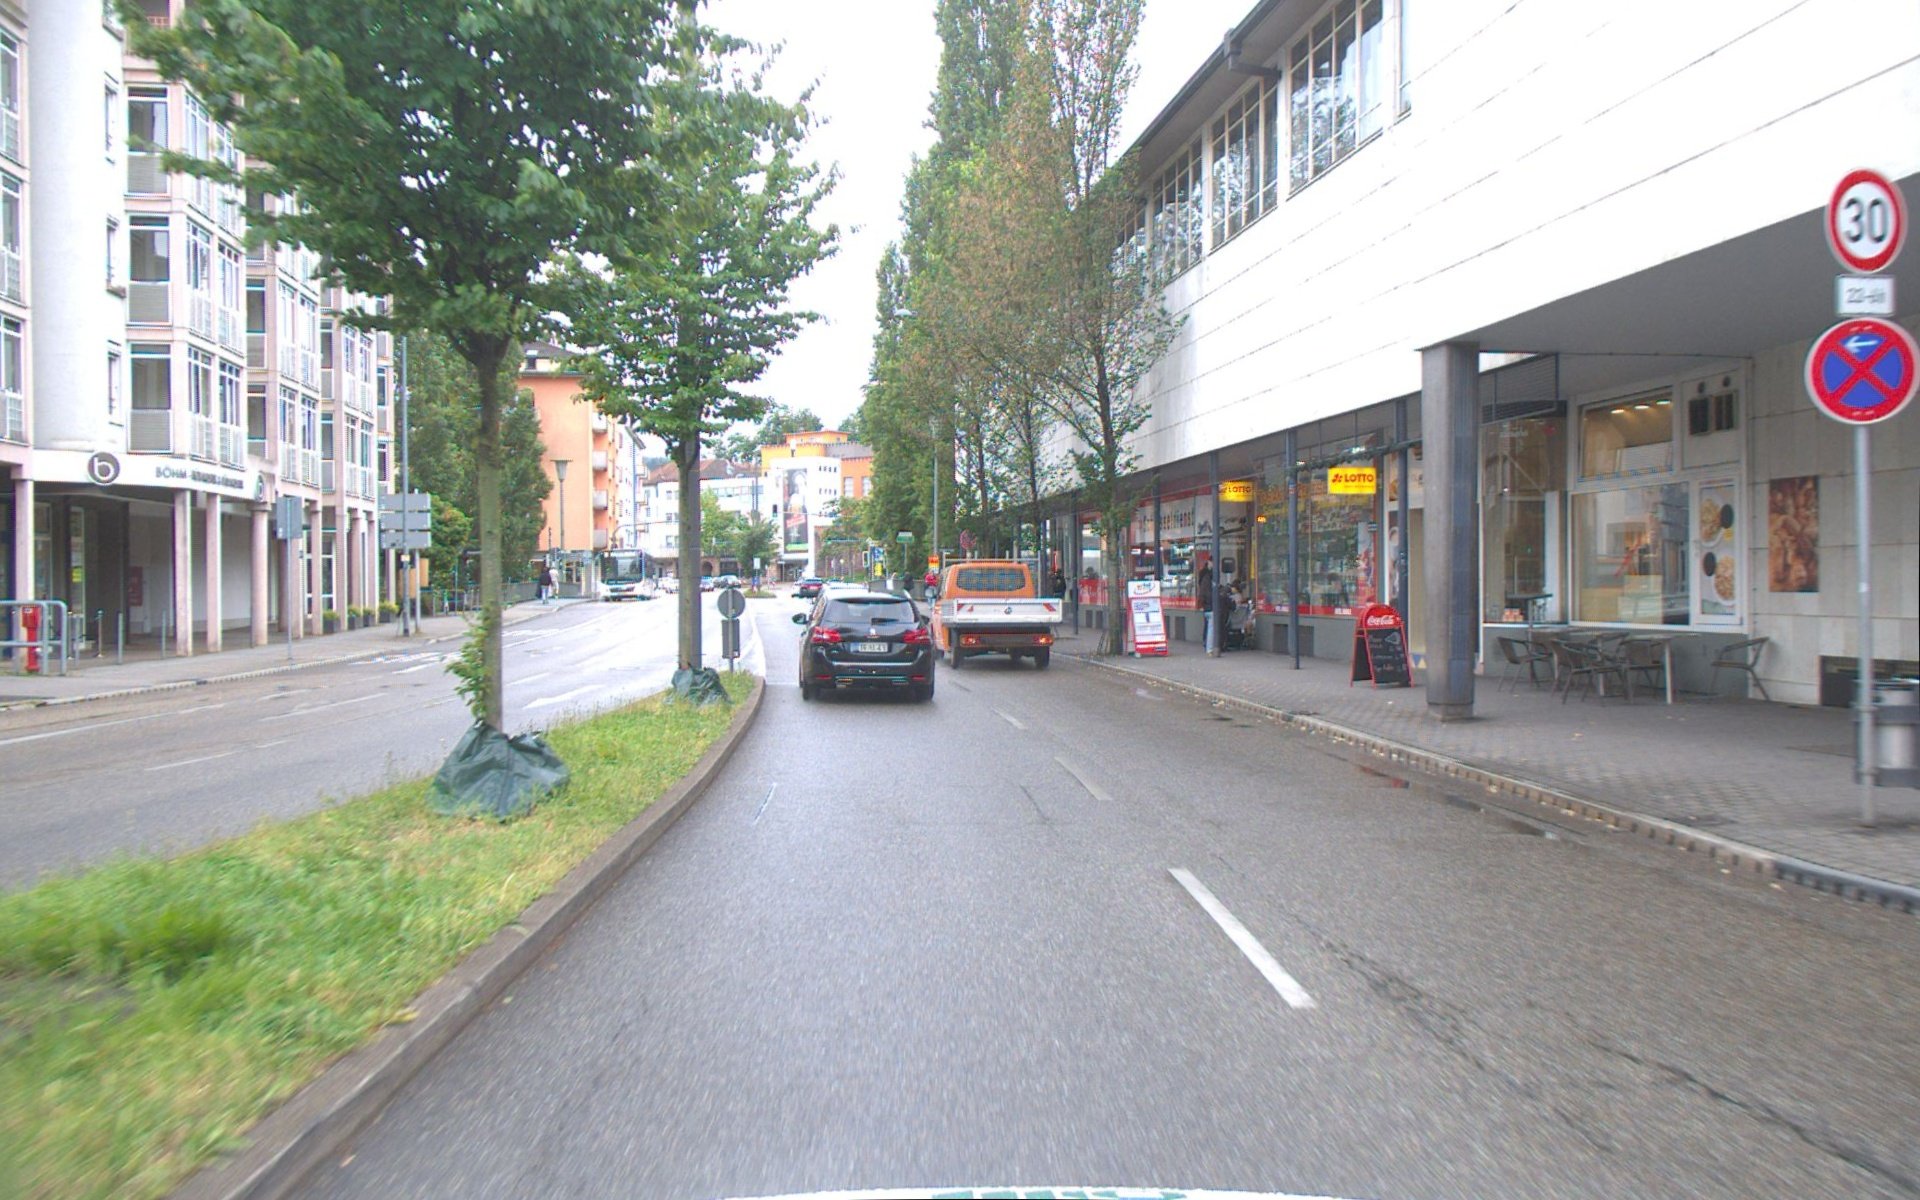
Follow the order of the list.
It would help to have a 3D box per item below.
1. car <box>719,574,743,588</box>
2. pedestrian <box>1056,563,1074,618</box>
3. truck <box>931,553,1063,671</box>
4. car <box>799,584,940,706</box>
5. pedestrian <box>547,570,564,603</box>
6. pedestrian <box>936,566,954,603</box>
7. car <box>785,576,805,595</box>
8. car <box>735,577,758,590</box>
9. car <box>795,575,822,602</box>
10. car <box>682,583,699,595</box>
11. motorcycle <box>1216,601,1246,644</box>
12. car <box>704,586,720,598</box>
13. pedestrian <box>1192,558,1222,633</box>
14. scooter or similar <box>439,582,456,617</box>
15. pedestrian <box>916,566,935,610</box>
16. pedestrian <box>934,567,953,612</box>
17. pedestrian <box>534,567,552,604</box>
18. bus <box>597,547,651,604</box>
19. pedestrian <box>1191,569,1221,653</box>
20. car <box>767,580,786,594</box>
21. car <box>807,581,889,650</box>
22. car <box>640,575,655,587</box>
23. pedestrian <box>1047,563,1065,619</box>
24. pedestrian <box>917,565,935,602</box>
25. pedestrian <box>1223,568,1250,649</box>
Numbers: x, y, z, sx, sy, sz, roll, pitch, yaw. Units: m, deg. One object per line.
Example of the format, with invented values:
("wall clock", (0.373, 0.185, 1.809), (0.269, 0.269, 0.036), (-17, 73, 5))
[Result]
("car", (-29.052, -2.449, 209.566), (1.629, 1.592, 3.560), (3, -2, -32))
("pedestrian", (3.345, -0.308, 52.642), (0.525, 1.748, 0.535), (-1, 1, 2))
("truck", (0.621, 0.217, 31.607), (2.080, 2.061, 4.711), (1, 0, -4))
("car", (-1.310, 0.578, 22.919), (1.760, 1.509, 3.996), (1, 0, -5))
("pedestrian", (-22.398, -0.755, 91.693), (0.781, 1.825, 0.811), (0, 0, -5))
("pedestrian", (-0.667, -0.698, 74.935), (0.712, 1.617, 0.605), (-2, 1, -8))
("car", (-15.271, -1.310, 153.080), (1.614, 1.592, 3.593), (2, -2, -7))
("car", (-27.531, -2.134, 213.335), (1.629, 1.592, 3.560), (3, -2, -32))
("car", (-10.263, -0.755, 111.775), (1.614, 1.592, 3.593), (2, -2, -7))
("car", (-30.309, -1.248, 186.380), (1.758, 1.348, 4.399), (-1, 1, -8))
("motorcycle", (5.407, 0.445, 33.025), (0.318, 0.818, 0.919), (-1, 2, -7))
("car", (-29.387, -0.921, 195.674), (1.759, 1.348, 4.396), (-1, 1, -10))
("pedestrian", (5.354, -0.098, 35.817), (0.422, 1.593, 0.507), (0, 1, 38))
("scooter or similar", (-21.125, -0.032, 68.145), (0.473, 1.336, 1.568), (-1, 3, -11))
("pedestrian", (-1.439, -0.500, 68.489), (0.641, 1.798, 0.921), (-2, 1, -8))
("pedestrian", (-0.685, -0.423, 68.562), (0.685, 1.833, 0.605), (-2, 1, -8))
("pedestrian", (-20.786, -0.741, 82.504), (0.684, 1.825, 0.958), (0, 0, -5))
("bus", (-20.303, -1.592, 100.511), (2.694, 3.129, 12.213), (0, 2, -9))
("pedestrian", (4.779, 0.209, 32.099), (0.421, 1.593, 0.508), (-1, 1, -9))
("car", (-22.500, -1.612, 202.609), (1.958, 1.713, 3.989), (-1, 1, -11))
("car", (-2.679, 0.329, 38.964), (1.760, 1.509, 3.995), (-1, 1, -6))
("car", (-40.473, -2.482, 214.408), (1.634, 1.424, 3.870), (-2, 1, -8))
("pedestrian", (3.001, -0.275, 51.902), (0.525, 1.748, 0.534), (-1, 1, 1))
("pedestrian", (-1.548, -0.757, 75.512), (0.703, 1.648, 0.768), (-2, 1, -8))
("pedestrian", (5.496, 0.172, 32.902), (0.380, 1.593, 0.429), (-1, 1, -10))
